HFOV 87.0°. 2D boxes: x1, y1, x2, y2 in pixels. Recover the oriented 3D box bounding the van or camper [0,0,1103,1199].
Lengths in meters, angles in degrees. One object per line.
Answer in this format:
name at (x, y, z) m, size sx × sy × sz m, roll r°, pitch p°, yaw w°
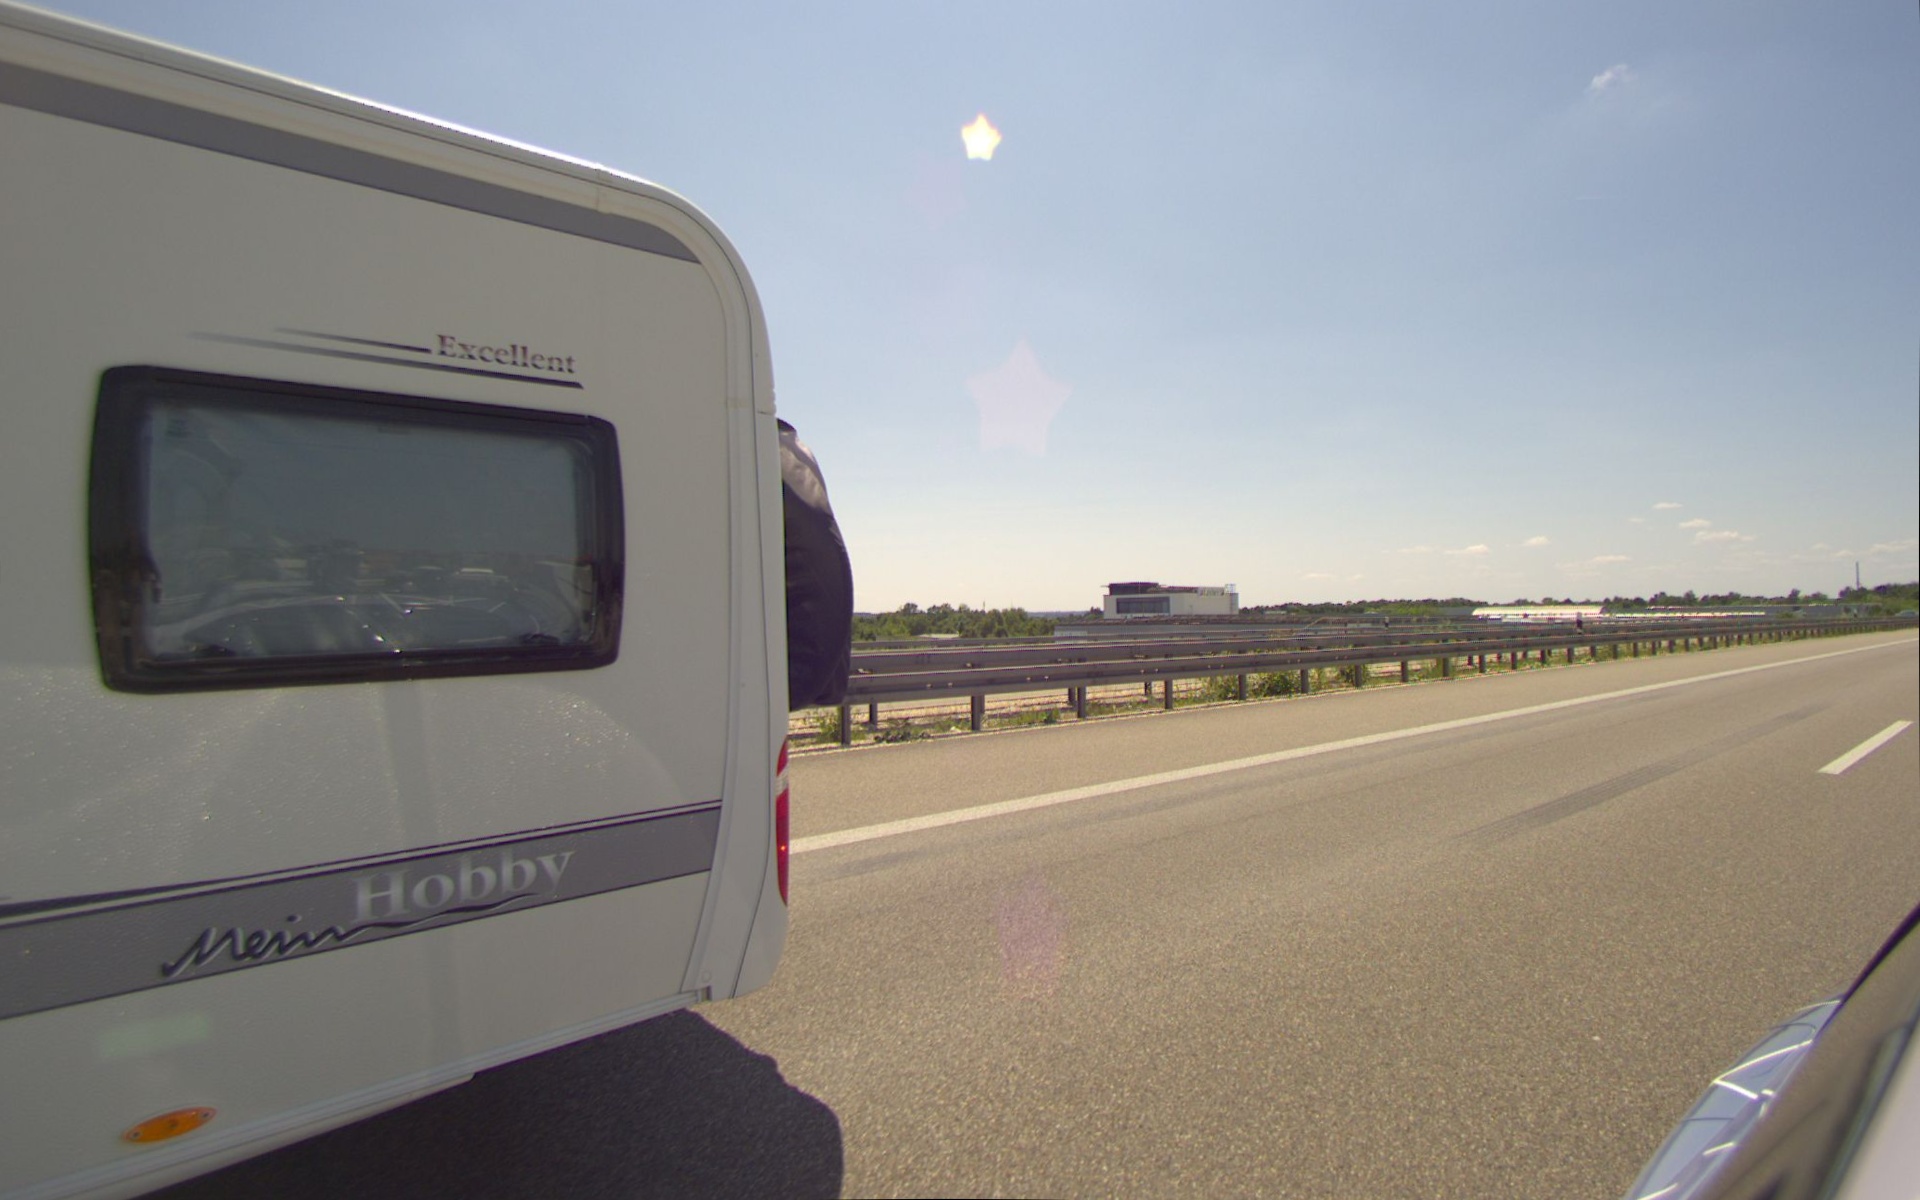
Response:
van or camper at (-3.209, 0.113, 1.820) m, size 7.681 × 2.626 × 2.516 m, roll 0°, pitch 0°, yaw -42°
